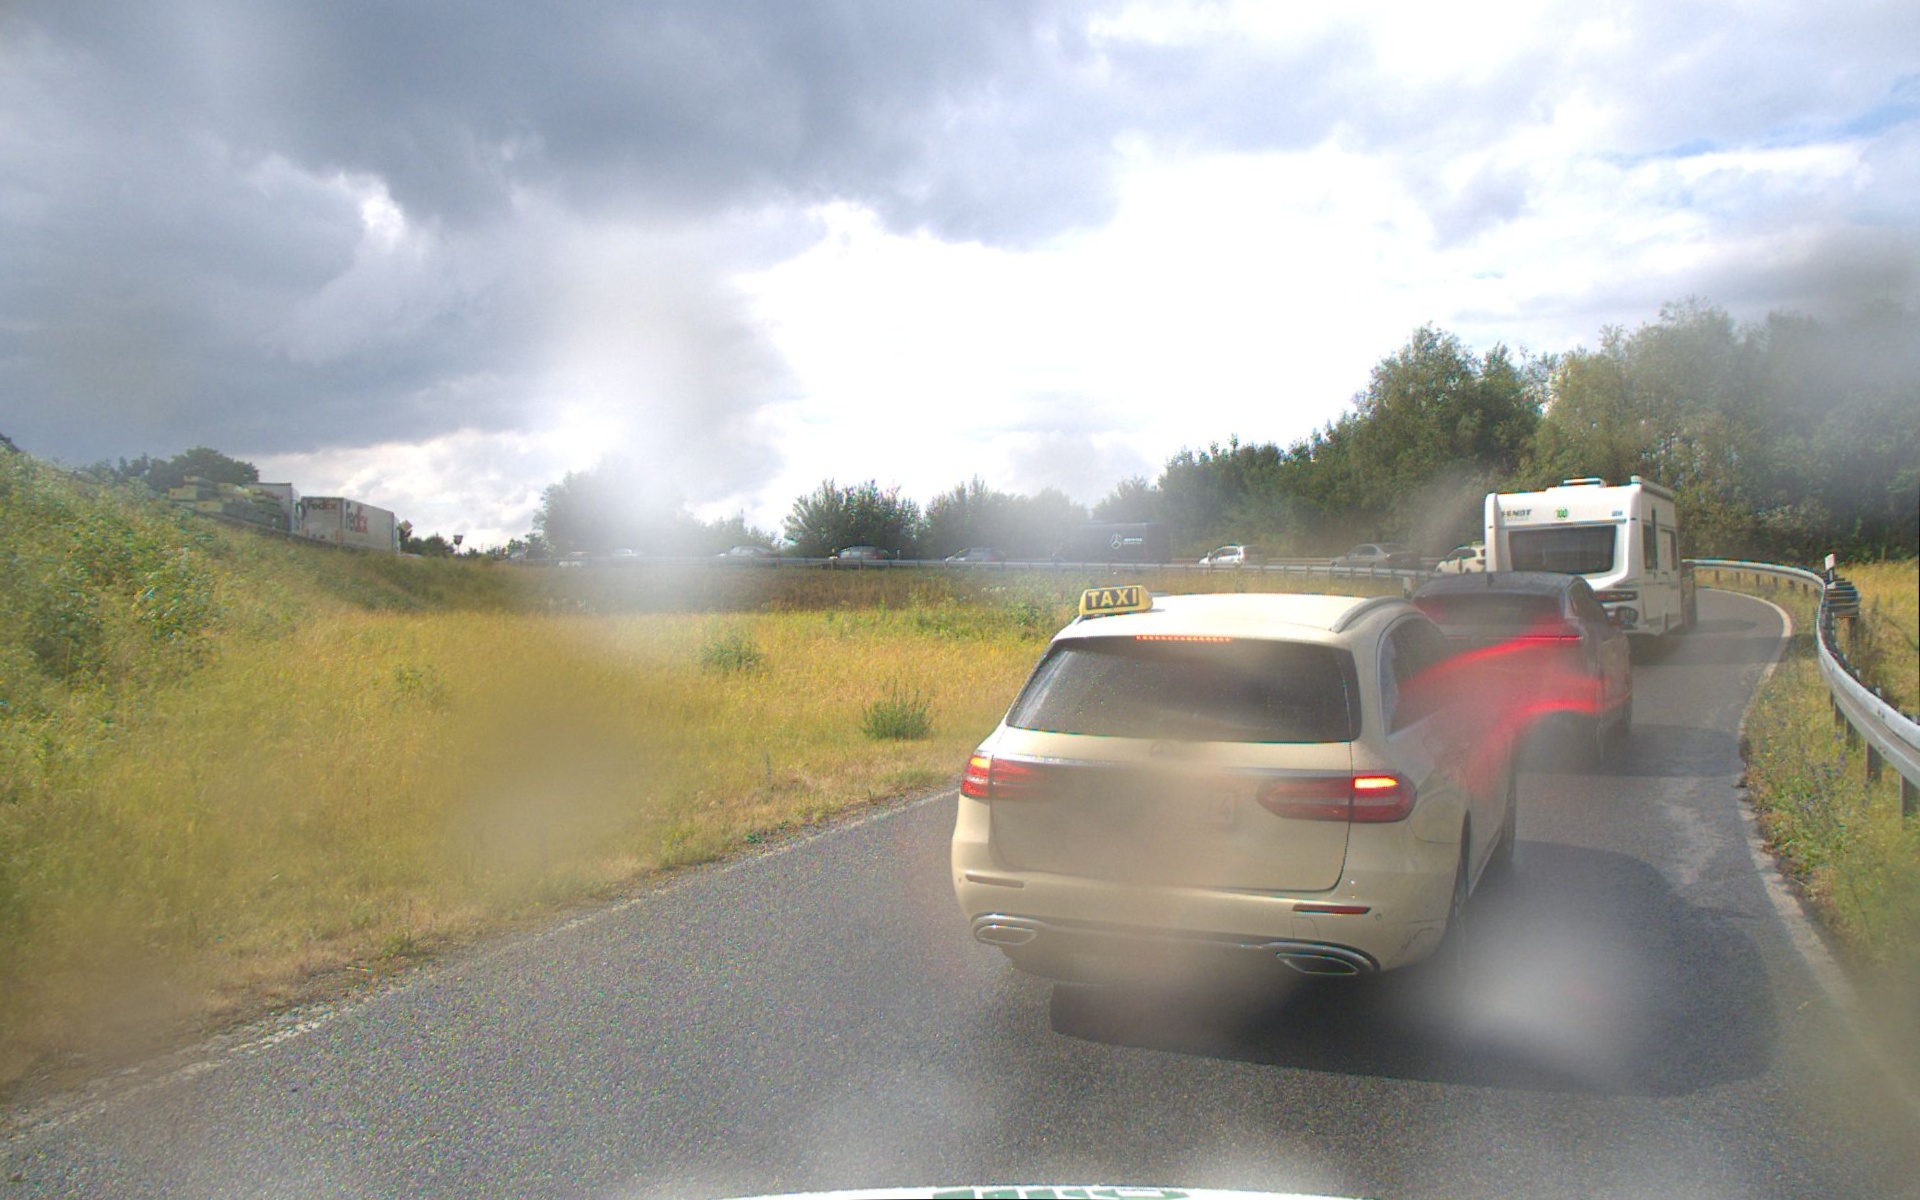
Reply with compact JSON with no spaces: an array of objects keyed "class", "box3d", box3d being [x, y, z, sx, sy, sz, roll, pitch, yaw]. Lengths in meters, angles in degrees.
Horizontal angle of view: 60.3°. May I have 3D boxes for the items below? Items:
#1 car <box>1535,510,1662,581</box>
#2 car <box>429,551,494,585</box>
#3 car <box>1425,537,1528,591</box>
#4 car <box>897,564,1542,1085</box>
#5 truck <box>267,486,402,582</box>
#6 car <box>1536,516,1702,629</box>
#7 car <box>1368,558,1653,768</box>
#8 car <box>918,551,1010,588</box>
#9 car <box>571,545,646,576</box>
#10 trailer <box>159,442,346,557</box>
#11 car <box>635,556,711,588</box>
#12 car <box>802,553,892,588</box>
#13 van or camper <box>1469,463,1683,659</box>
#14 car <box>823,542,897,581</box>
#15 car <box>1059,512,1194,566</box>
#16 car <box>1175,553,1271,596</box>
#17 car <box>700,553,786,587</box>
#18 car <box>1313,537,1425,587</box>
[{"class":"car","box3d":[19.431,-1.609,50.588,1.952,1.894,5.057,-2,-1,1]},{"class":"car","box3d":[-31.662,-2.022,105.122,3.921,2.049,1.819,0,-2,-15]},{"class":"car","box3d":[19.035,-1.327,61.235,1.954,1.894,5.054,0,1,-4]},{"class":"car","box3d":[1.511,0.620,7.444,1.877,1.533,4.596,1,2,22]},{"class":"truck","box3d":[-39.839,-3.981,106.443,4.378,4.582,19.329,0,-2,-9]},{"class":"car","box3d":[12.756,-0.588,31.763,2.381,1.959,5.754,0,2,28]},{"class":"car","box3d":[4.903,0.458,14.370,1.685,1.551,3.995,-3,0,28]},{"class":"car","box3d":[0.212,-1.698,94.204,4.953,1.894,1.993,-2,-1,35]},{"class":"car","box3d":[-23.949,-2.661,112.590,4.950,1.894,1.995,-2,-1,32]},{"class":"trailer","box3d":[-36.719,-4.946,87.233,4.332,4.025,20.170,0,-2,-9]},{"class":"car","box3d":[-18.630,-1.814,107.385,4.401,1.894,2.001,-2,-1,16]},{"class":"car","box3d":[-6.722,-1.752,98.576,4.939,1.894,1.999,-2,-1,24]},{"class":"van or camper","box3d":[10.018,-0.694,26.543,2.384,2.776,5.994,0,3,29]},{"class":"car","box3d":[-5.980,-2.262,98.800,3.912,2.049,1.996,-1,-5,30]},{"class":"car","box3d":[8.744,-3.200,87.259,2.854,2.640,6.869,-2,1,-44]},{"class":"car","box3d":[12.901,-1.223,81.475,1.973,1.894,5.006,-1,-1,-30]},{"class":"car","box3d":[-13.360,-1.841,101.910,4.939,1.894,1.999,-2,-1,24]},{"class":"car","box3d":[17.501,-1.612,71.044,1.968,1.894,5.017,-1,-1,-25]}]
